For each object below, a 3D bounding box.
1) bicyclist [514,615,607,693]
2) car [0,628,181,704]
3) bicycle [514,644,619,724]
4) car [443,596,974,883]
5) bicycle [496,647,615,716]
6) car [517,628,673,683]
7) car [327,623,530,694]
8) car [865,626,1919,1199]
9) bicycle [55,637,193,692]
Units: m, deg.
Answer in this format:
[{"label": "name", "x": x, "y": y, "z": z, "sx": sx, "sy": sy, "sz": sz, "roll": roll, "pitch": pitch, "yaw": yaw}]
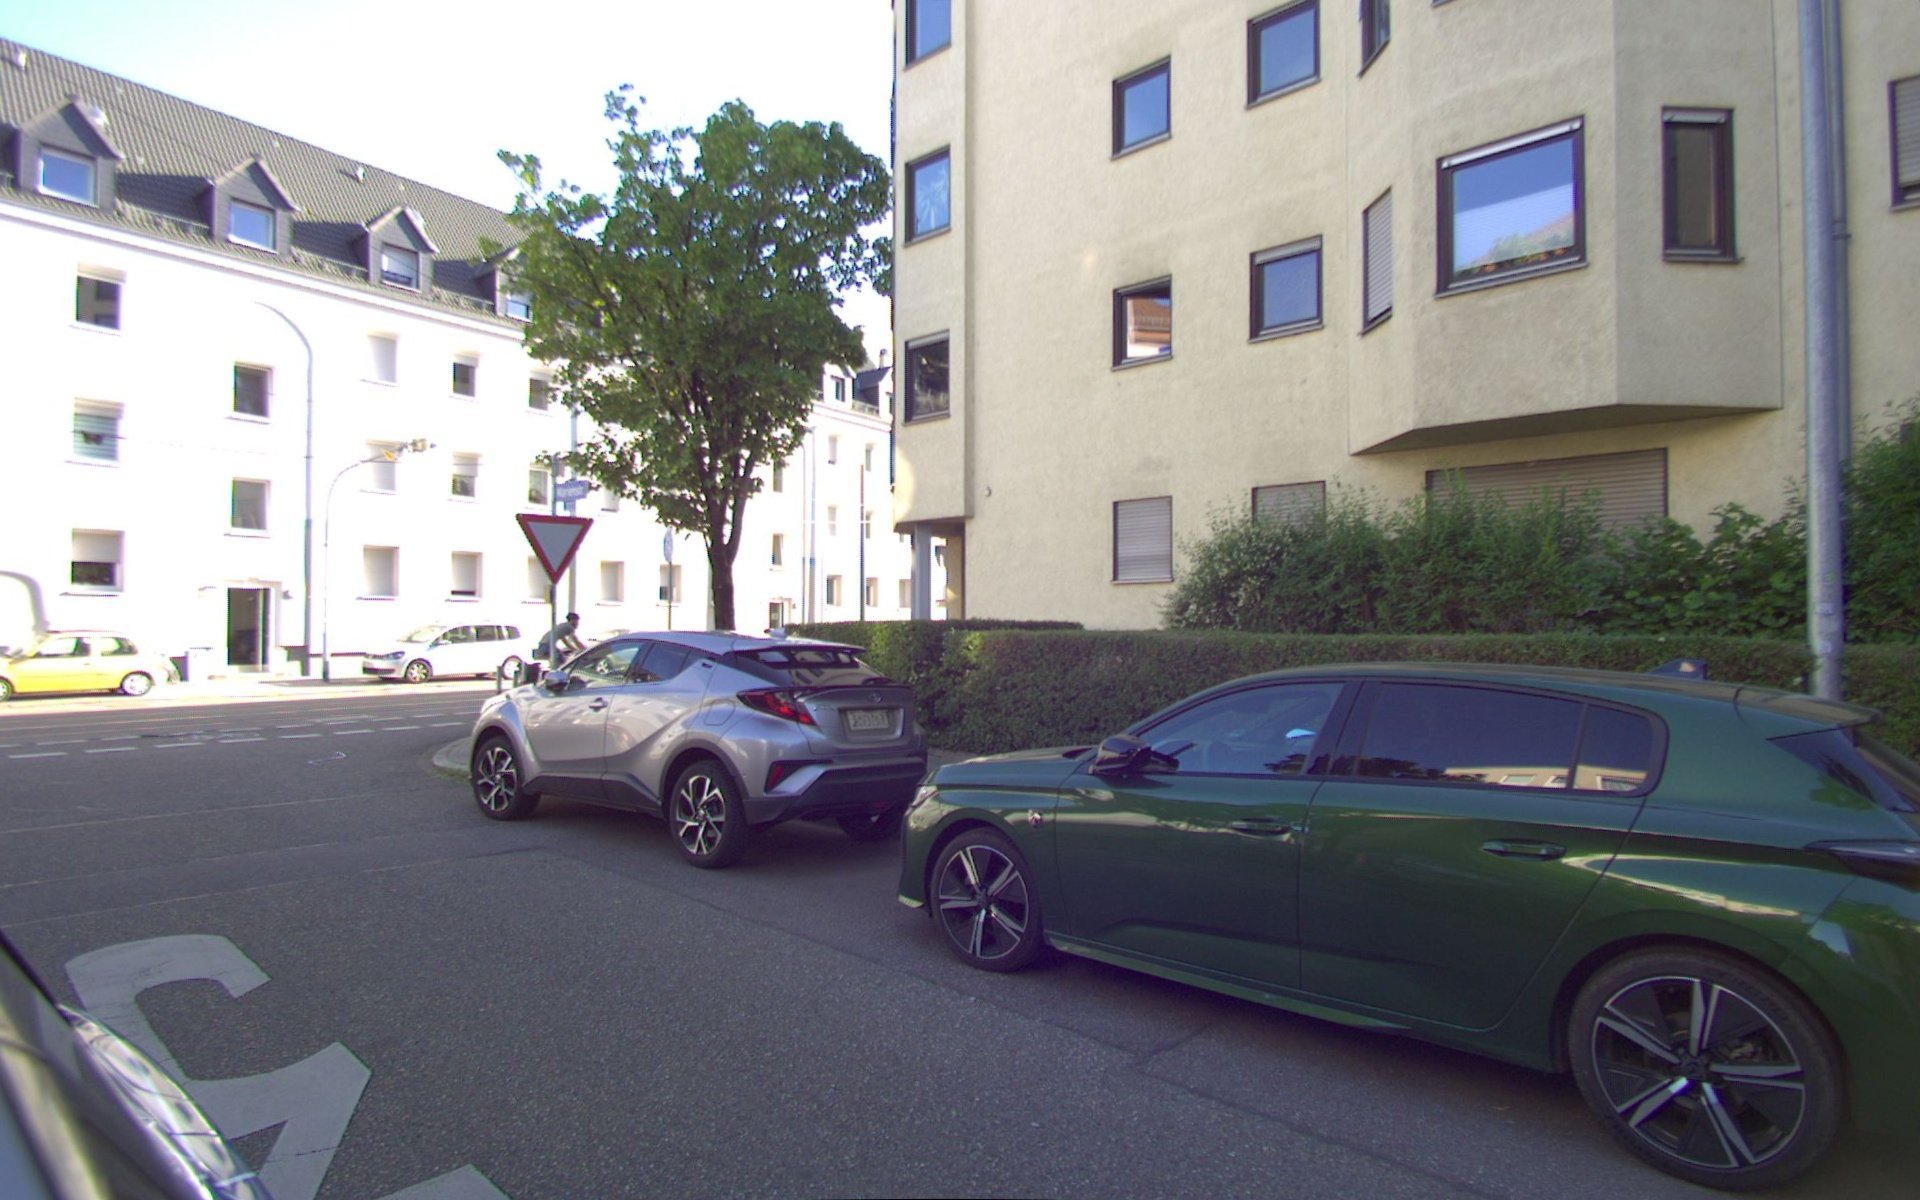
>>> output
[{"label": "bicyclist", "x": -7.198, "y": 0.957, "z": 18.244, "sx": 1.184, "sy": 1.340, "sz": 1.082, "roll": -1, "pitch": -2, "yaw": 34}, {"label": "car", "x": -18.965, "y": 1.336, "z": 21.034, "sx": 1.515, "sy": 1.441, "sz": 4.151, "roll": 0, "pitch": -1, "yaw": 35}, {"label": "bicycle", "x": -5.886, "y": 1.222, "z": 15.110, "sx": 1.880, "sy": 1.093, "sz": 0.588, "roll": -1, "pitch": -2, "yaw": 38}, {"label": "car", "x": -2.063, "y": 0.883, "z": 7.887, "sx": 3.993, "sy": 1.672, "sz": 1.886, "roll": -1, "pitch": -4, "yaw": 37}, {"label": "bicycle", "x": -7.215, "y": 1.420, "z": 18.126, "sx": 0.623, "sy": 1.110, "sz": 1.937, "roll": 1, "pitch": -1, "yaw": 35}, {"label": "car", "x": -11.448, "y": 1.694, "z": 31.991, "sx": 1.867, "sy": 1.566, "sz": 4.311, "roll": 1, "pitch": -1, "yaw": 37}, {"label": "car", "x": -14.328, "y": 1.505, "z": 27.549, "sx": 1.756, "sy": 1.678, "sz": 4.574, "roll": 3, "pitch": 0, "yaw": 33}, {"label": "car", "x": 1.661, "y": 0.895, "z": 4.213, "sx": 4.134, "sy": 1.508, "sz": 1.733, "roll": -1, "pitch": -4, "yaw": 42}, {"label": "bicycle", "x": -19.709, "y": 1.487, "z": 23.923, "sx": 1.097, "sy": 1.206, "sz": 2.300, "roll": -1, "pitch": -2, "yaw": 34}]
